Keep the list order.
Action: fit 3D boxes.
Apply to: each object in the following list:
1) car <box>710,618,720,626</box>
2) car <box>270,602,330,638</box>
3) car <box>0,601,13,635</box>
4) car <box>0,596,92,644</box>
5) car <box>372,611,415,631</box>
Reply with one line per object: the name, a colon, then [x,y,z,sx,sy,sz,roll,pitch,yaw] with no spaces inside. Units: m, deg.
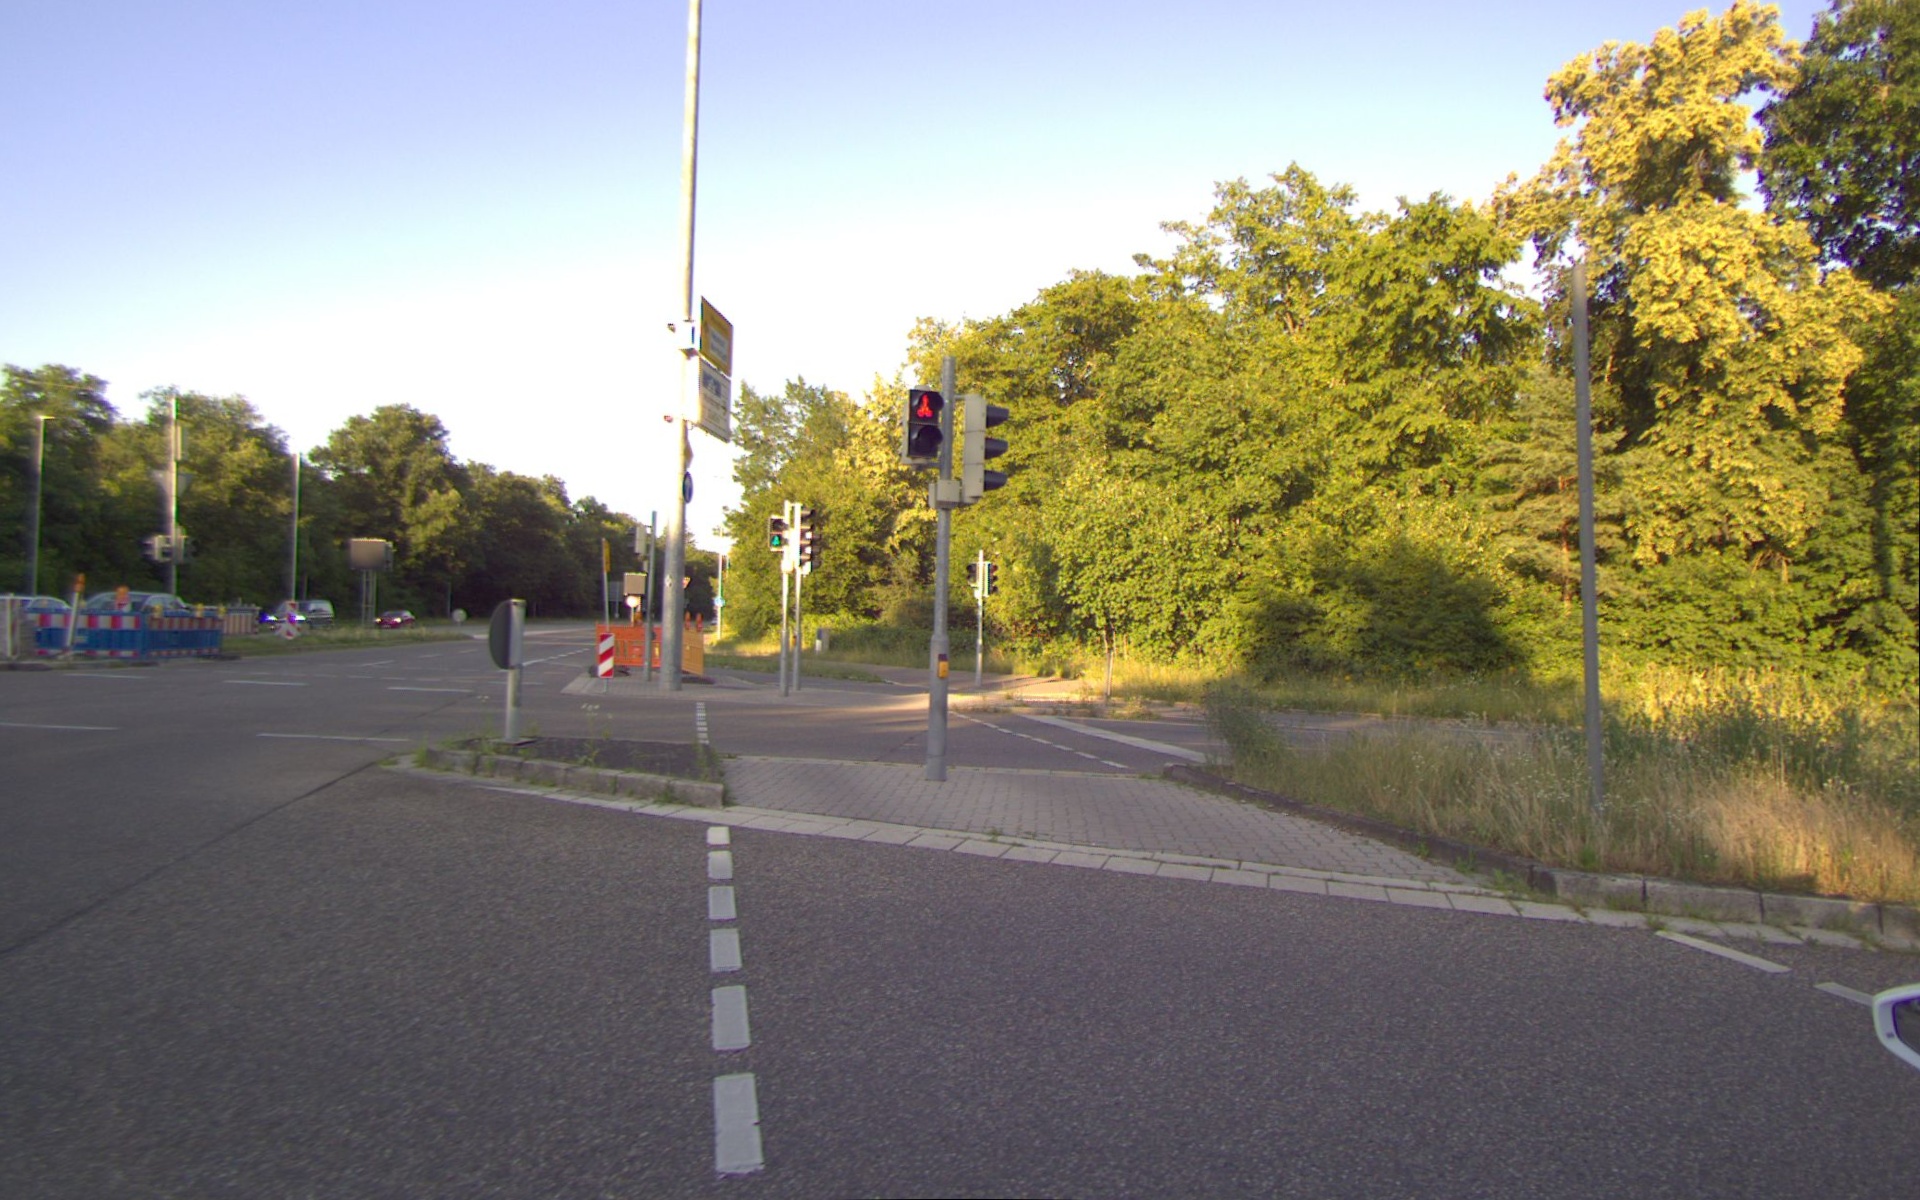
car: [-47.755,4.274,195.868,1.524,1.365,3.109,2,-1,-9]
car: [-40.194,1.187,61.290,1.854,2.051,4.218,2,-1,-17]
car: [-36.574,0.605,35.961,1.574,1.260,3.650,2,-1,8]
car: [-30.694,0.615,32.831,1.693,1.475,4.222,2,-1,-13]
car: [-44.803,1.644,79.538,1.852,1.440,4.221,2,-1,-14]
